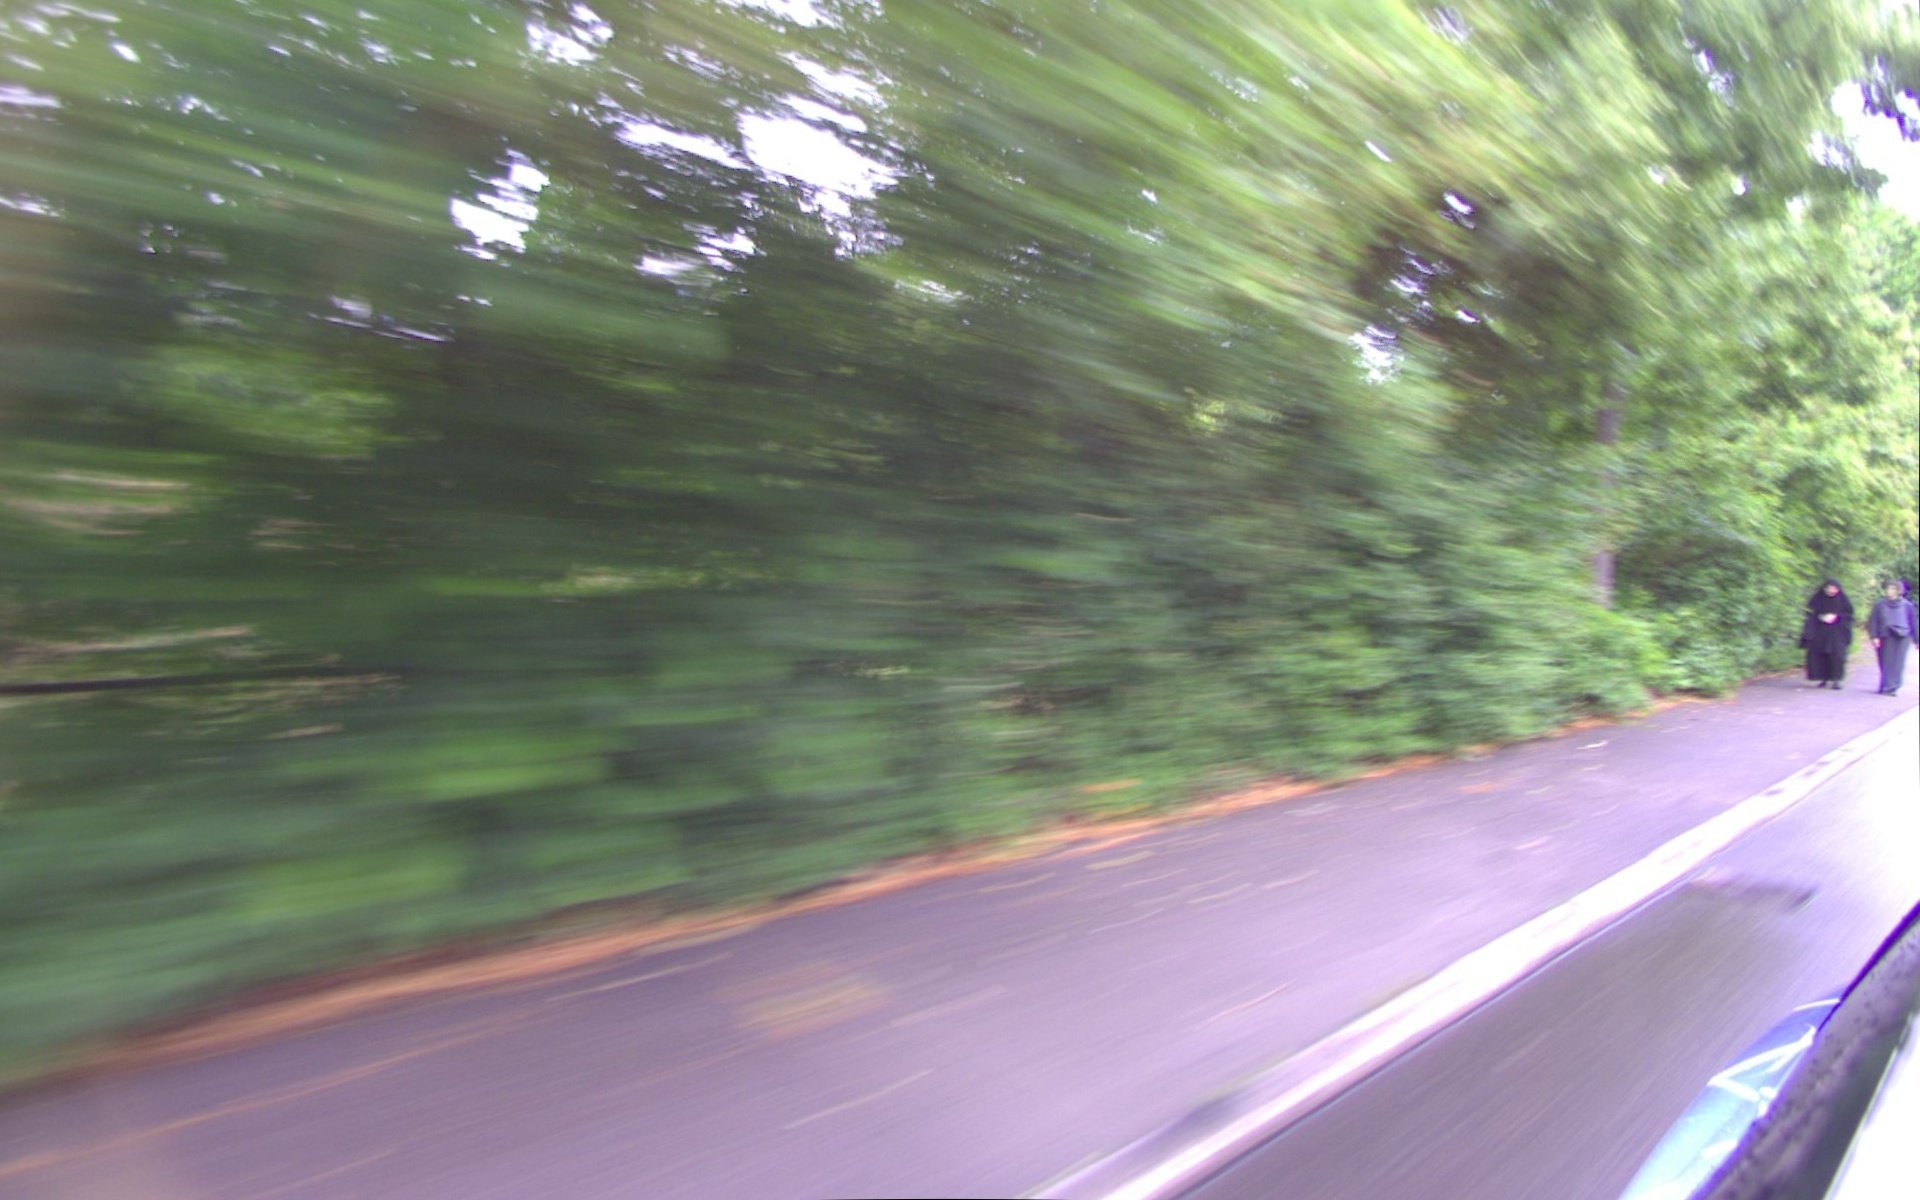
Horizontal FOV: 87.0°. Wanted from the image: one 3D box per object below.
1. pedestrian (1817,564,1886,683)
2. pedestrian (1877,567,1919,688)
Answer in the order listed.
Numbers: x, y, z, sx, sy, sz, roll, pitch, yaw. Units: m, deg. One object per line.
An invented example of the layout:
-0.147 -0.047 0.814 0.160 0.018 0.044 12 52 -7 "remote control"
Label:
12.433 0.305 14.128 0.594 1.585 0.660 3 4 37 "pedestrian"
12.897 0.360 13.735 0.551 1.585 0.480 4 5 39 "pedestrian"
